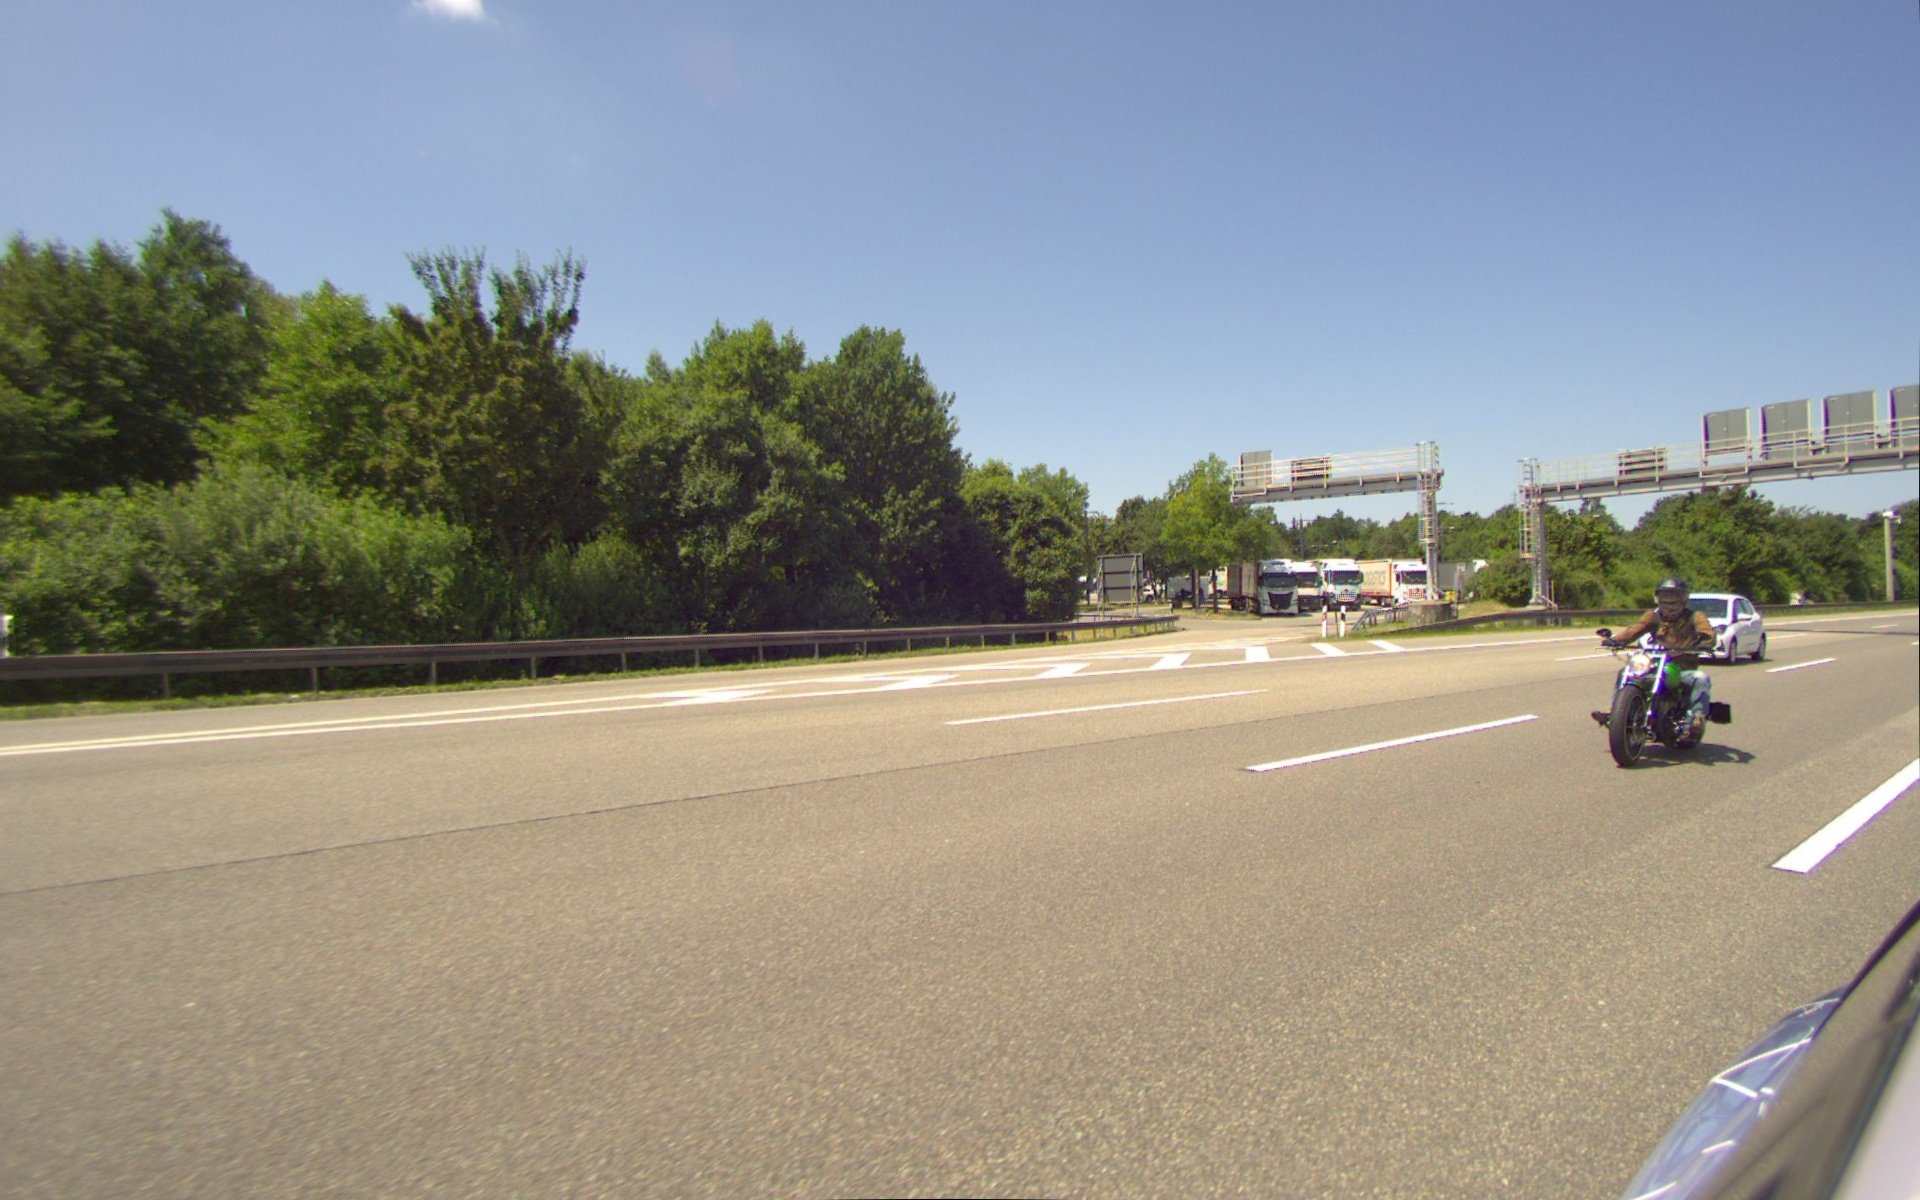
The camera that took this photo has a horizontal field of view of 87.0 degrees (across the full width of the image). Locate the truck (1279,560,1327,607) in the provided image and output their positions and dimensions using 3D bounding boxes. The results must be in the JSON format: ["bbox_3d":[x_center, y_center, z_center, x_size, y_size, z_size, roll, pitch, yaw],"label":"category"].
[{"bbox_3d":[27.424,-1.375,81.196,2.415,3.472,9.000,-2,1,11],"label":"truck"}]

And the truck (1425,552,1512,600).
[{"bbox_3d":[51.413,-2.330,102.934,2.782,4.516,14.620,0,1,5],"label":"truck"}]

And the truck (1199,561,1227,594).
[{"bbox_3d":[31.481,-2.821,126.139,2.416,3.868,8.796,-2,1,8],"label":"truck"}]

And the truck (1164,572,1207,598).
[{"bbox_3d":[24.798,-1.691,111.322,4.368,2.677,2.114,-2,1,7],"label":"truck"}]

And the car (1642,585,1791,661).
[{"bbox_3d":[16.941,0.442,22.591,4.405,1.538,1.753,0,0,-41],"label":"car"}]

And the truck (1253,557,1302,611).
[{"bbox_3d":[22.763,-1.153,72.831,2.453,3.656,6.310,-2,1,10],"label":"truck"}]

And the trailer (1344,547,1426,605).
[{"bbox_3d":[38.326,-2.158,91.843,3.224,4.766,12.043,-2,1,5],"label":"trailer"}]

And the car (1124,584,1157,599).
[{"bbox_3d":[19.803,-0.943,111.120,3.128,1.556,1.567,-2,1,-13],"label":"car"}]

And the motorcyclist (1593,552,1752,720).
[{"bbox_3d":[6.552,0.298,9.322,1.003,1.445,0.856,0,1,-31],"label":"motorcyclist"}]

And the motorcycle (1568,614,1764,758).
[{"bbox_3d":[6.568,0.733,9.362,2.388,1.150,0.538,-1,1,-31],"label":"motorcycle"}]

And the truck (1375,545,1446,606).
[{"bbox_3d":[37.671,-2.034,84.899,3.210,4.783,7.179,-2,1,6],"label":"truck"}]

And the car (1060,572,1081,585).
[{"bbox_3d":[18.168,-3.610,166.602,1.983,2.039,3.959,-1,1,30],"label":"car"}]

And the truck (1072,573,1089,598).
[{"bbox_3d":[15.178,-1.829,127.314,1.966,3.031,6.369,-2,1,7],"label":"truck"}]

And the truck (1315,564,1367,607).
[{"bbox_3d":[30.540,-1.211,81.474,2.415,3.163,9.000,-2,1,11],"label":"truck"}]

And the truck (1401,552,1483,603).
[{"bbox_3d":[45.996,-2.127,97.059,2.781,4.515,12.051,-2,1,4],"label":"truck"}]
